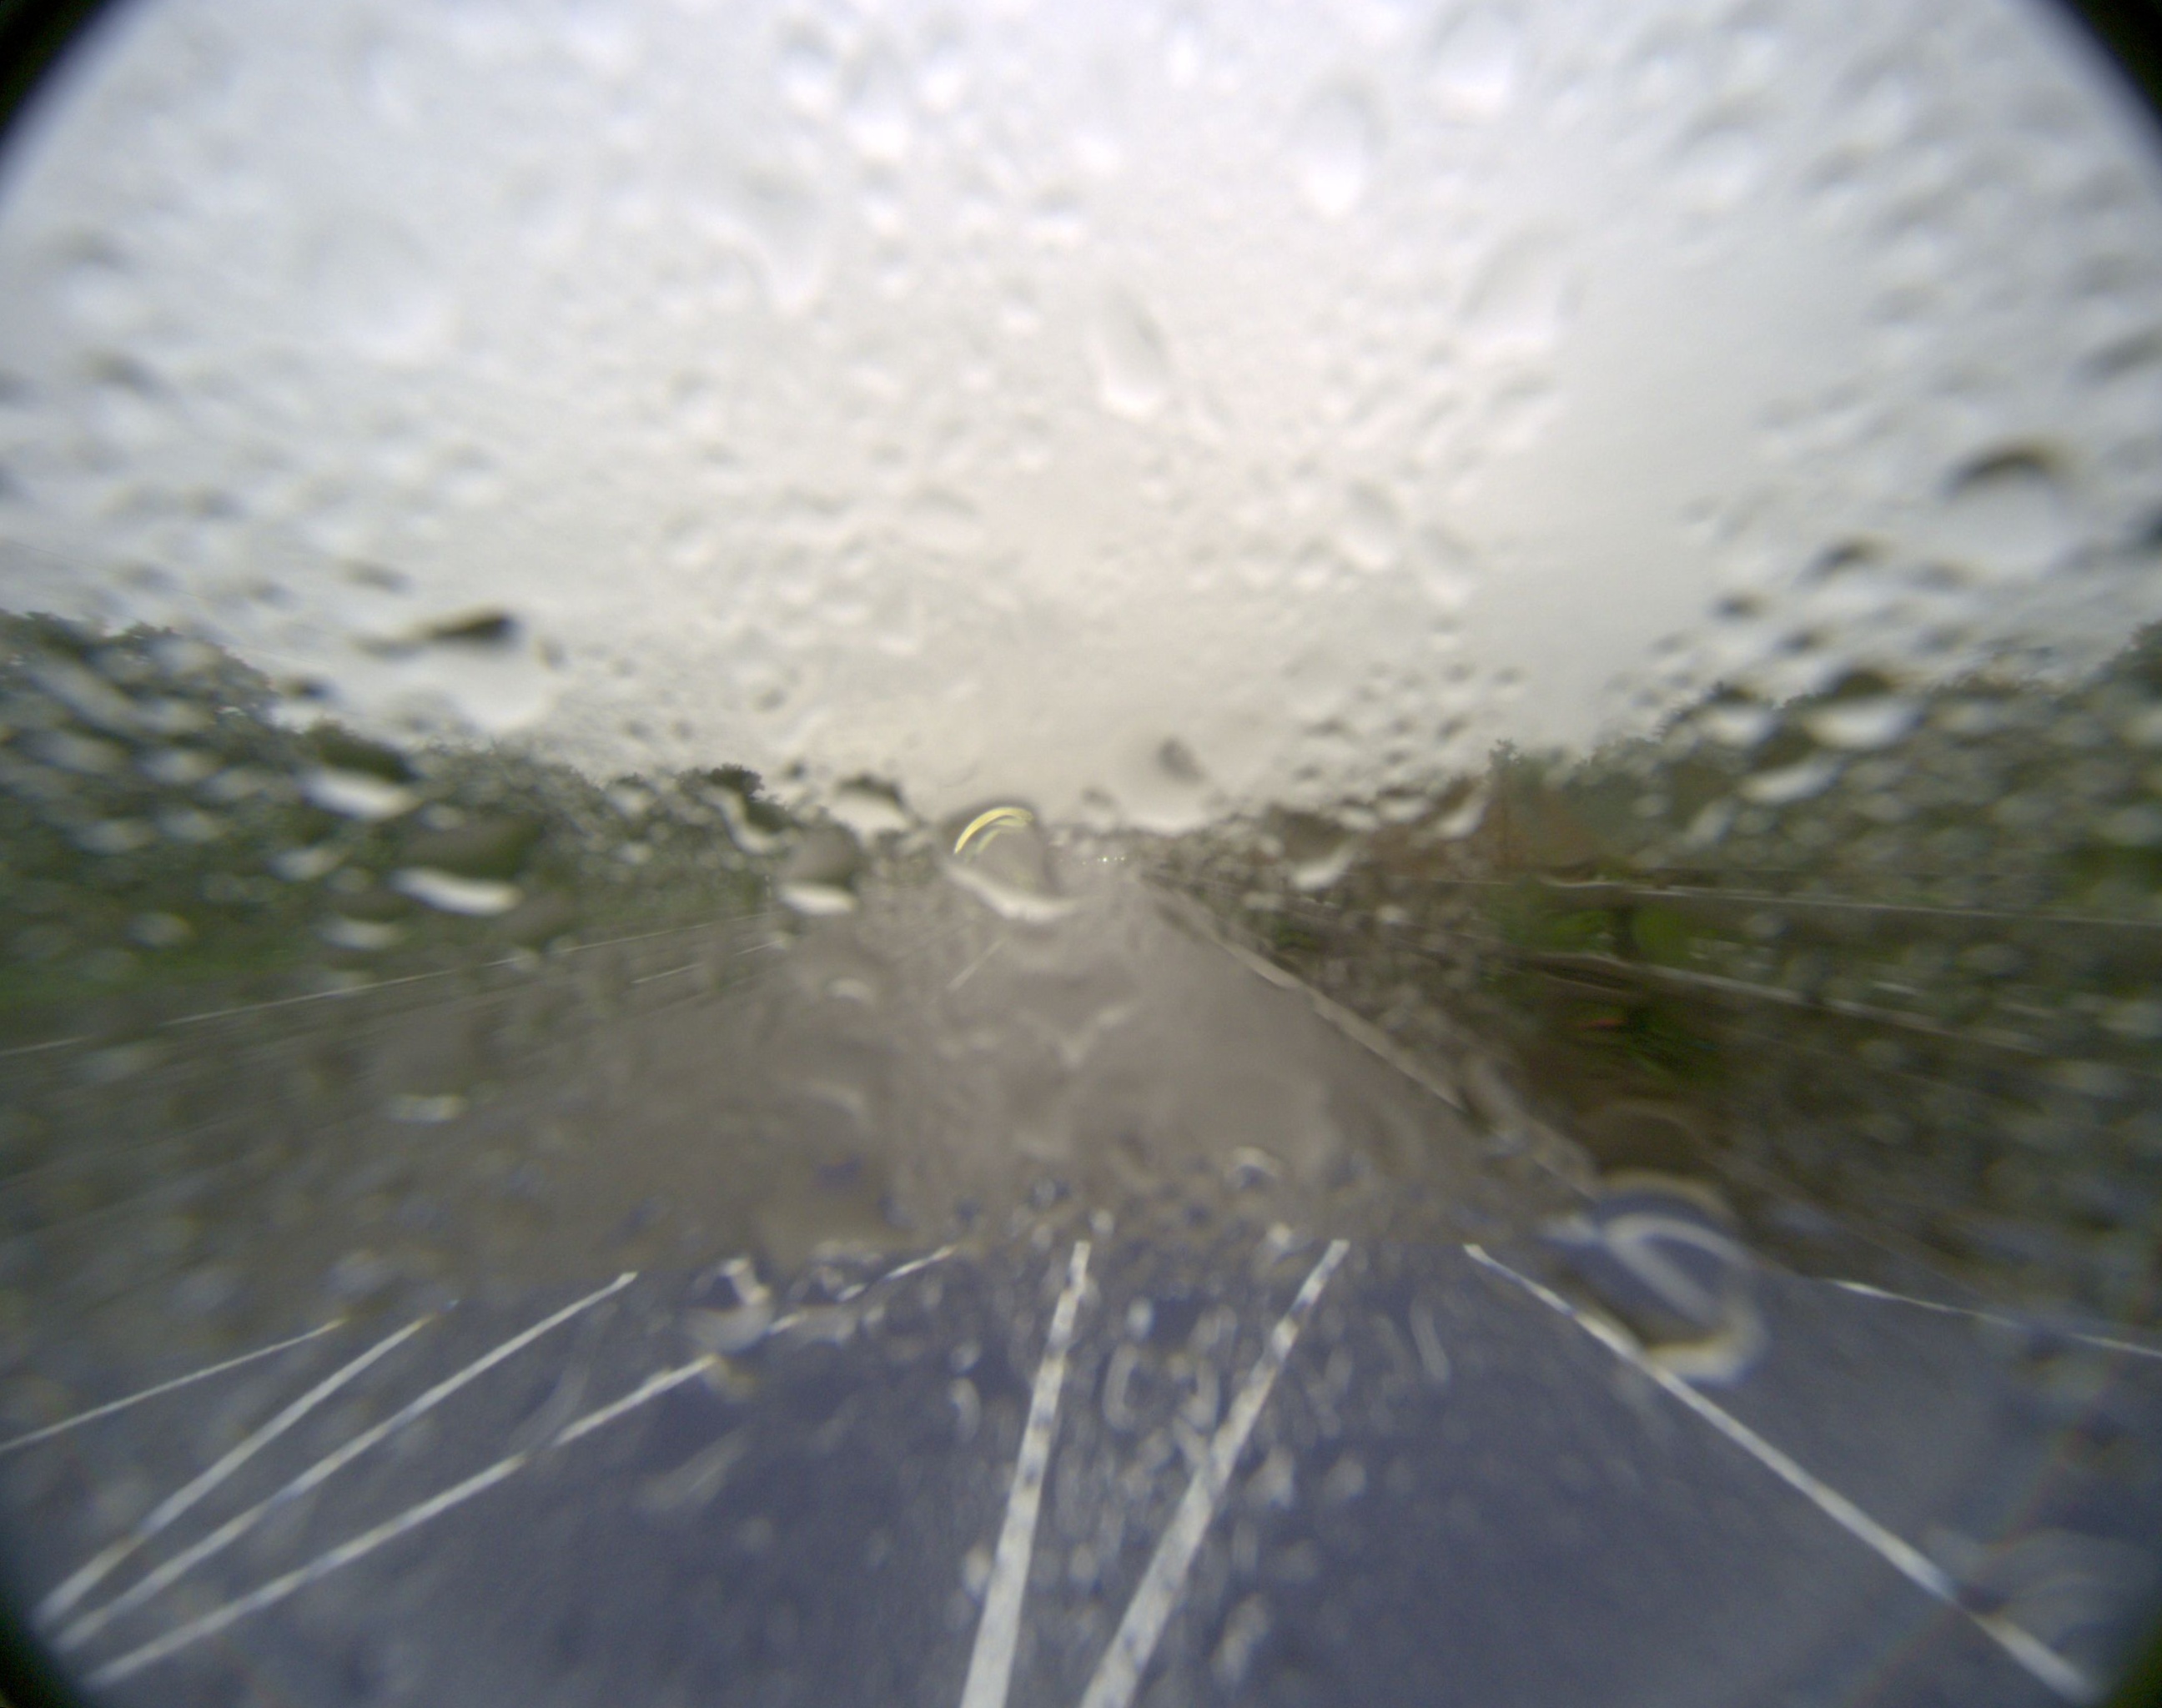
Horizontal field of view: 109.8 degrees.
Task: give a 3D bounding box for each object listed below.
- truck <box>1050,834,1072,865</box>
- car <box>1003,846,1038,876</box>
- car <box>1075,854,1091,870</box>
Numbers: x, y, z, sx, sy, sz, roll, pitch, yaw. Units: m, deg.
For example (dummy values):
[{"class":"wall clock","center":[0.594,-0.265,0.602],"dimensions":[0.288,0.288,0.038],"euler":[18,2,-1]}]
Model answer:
[{"class":"truck","center":[-3.150,-0.748,124.268],"dimensions":[3.136,4.642,11.402],"euler":[-2,0,0]},{"class":"car","center":[-4.397,0.492,55.747],"dimensions":[1.998,2.002,4.000],"euler":[-3,0,2]},{"class":"car","center":[0.271,1.026,103.078],"dimensions":[1.999,2.002,3.999],"euler":[-2,0,-1]}]
